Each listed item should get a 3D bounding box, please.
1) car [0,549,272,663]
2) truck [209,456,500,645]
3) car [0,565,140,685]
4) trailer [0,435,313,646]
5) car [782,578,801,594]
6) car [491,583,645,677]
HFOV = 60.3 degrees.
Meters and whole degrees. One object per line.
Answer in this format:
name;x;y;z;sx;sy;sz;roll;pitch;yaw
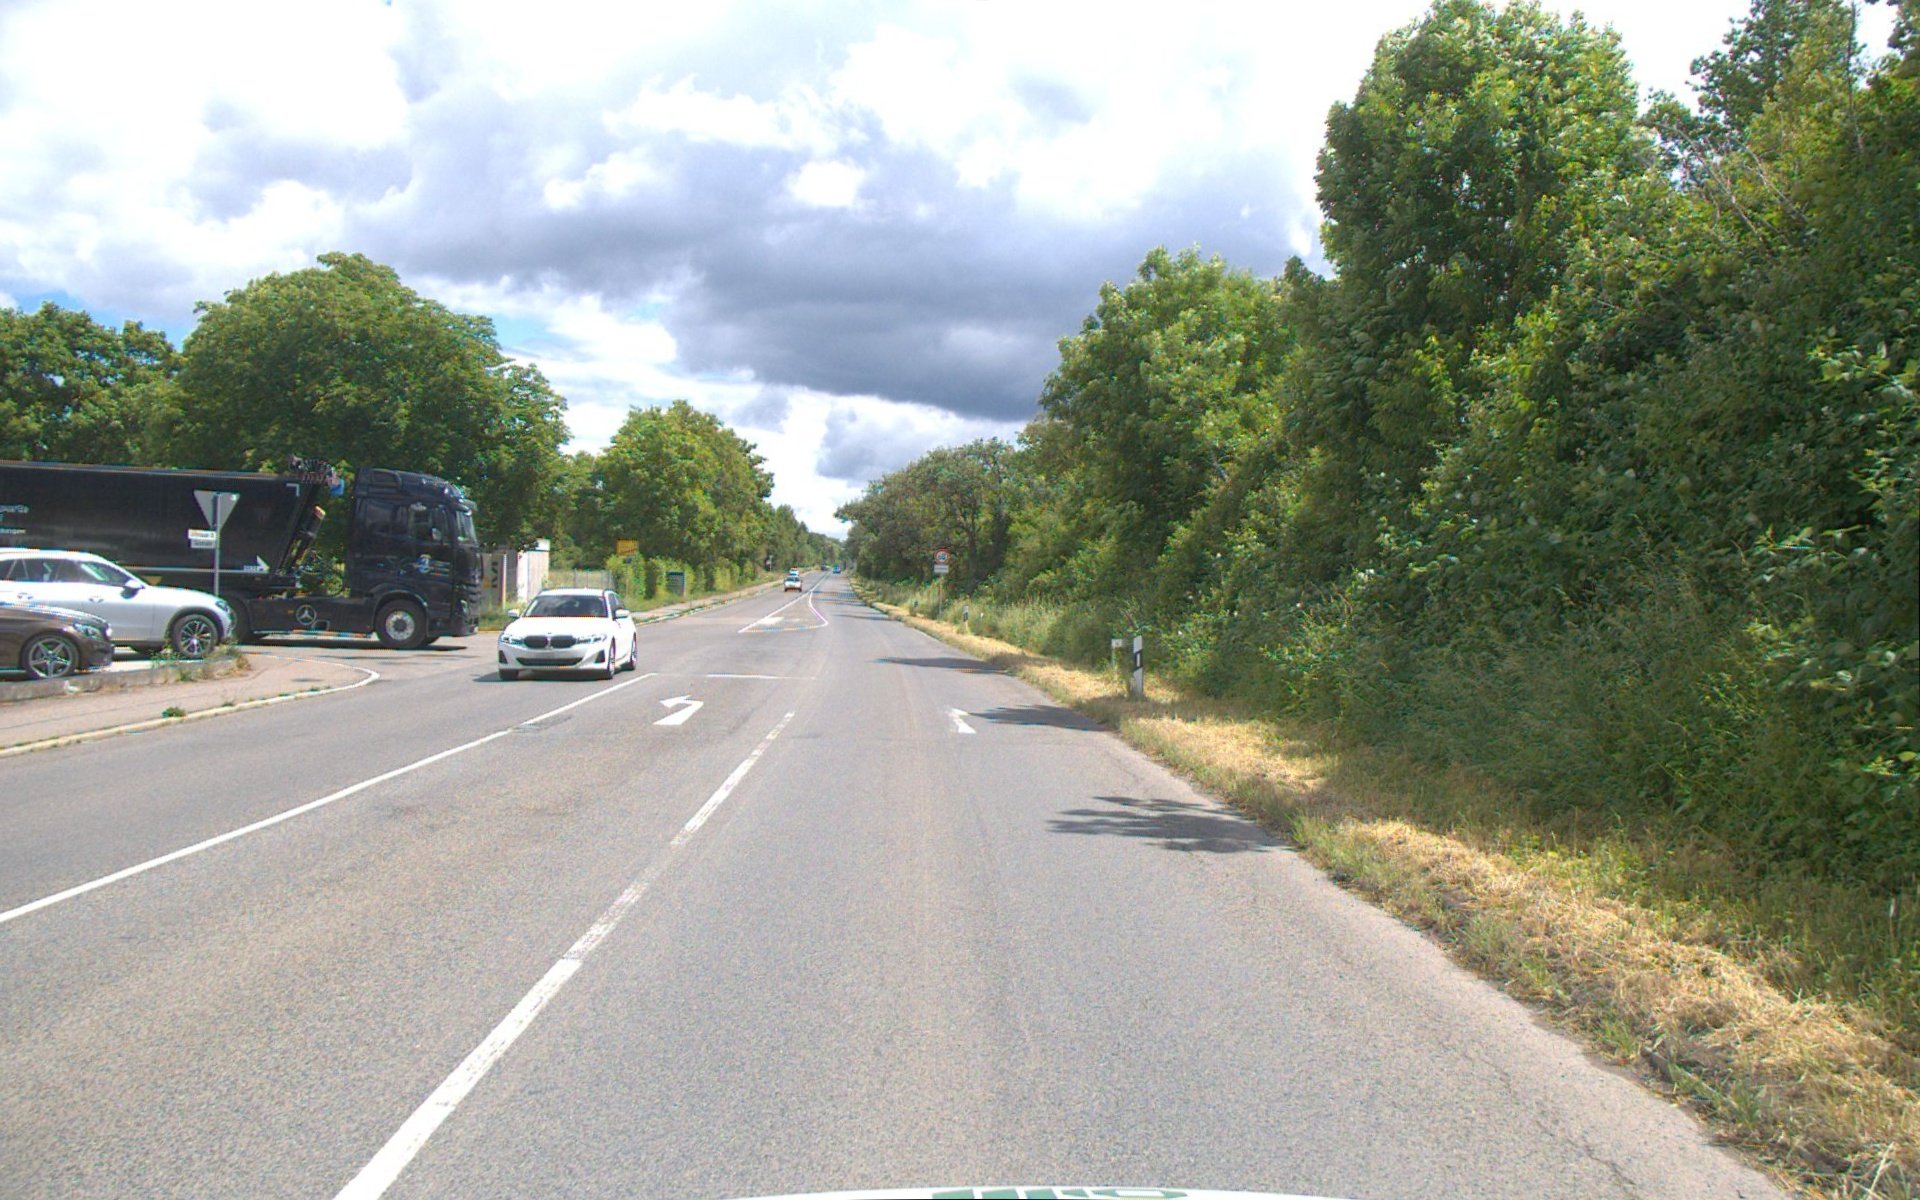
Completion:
car;-13.543;0.081;25.904;1.952;1.633;4.717;3;1;40
truck;-13.206;-1.034;36.542;5.451;3.890;2.978;1;0;-9
car;-13.309;0.298;21.852;4.272;1.491;1.778;1;2;-32
trailer;-18.739;-1.203;34.860;9.297;4.154;3.300;1;0;-20
car;-15.653;-1.297;153.921;1.628;1.457;3.689;0;1;-5
car;-6.587;0.466;28.245;1.955;1.476;4.421;0;0;-6
